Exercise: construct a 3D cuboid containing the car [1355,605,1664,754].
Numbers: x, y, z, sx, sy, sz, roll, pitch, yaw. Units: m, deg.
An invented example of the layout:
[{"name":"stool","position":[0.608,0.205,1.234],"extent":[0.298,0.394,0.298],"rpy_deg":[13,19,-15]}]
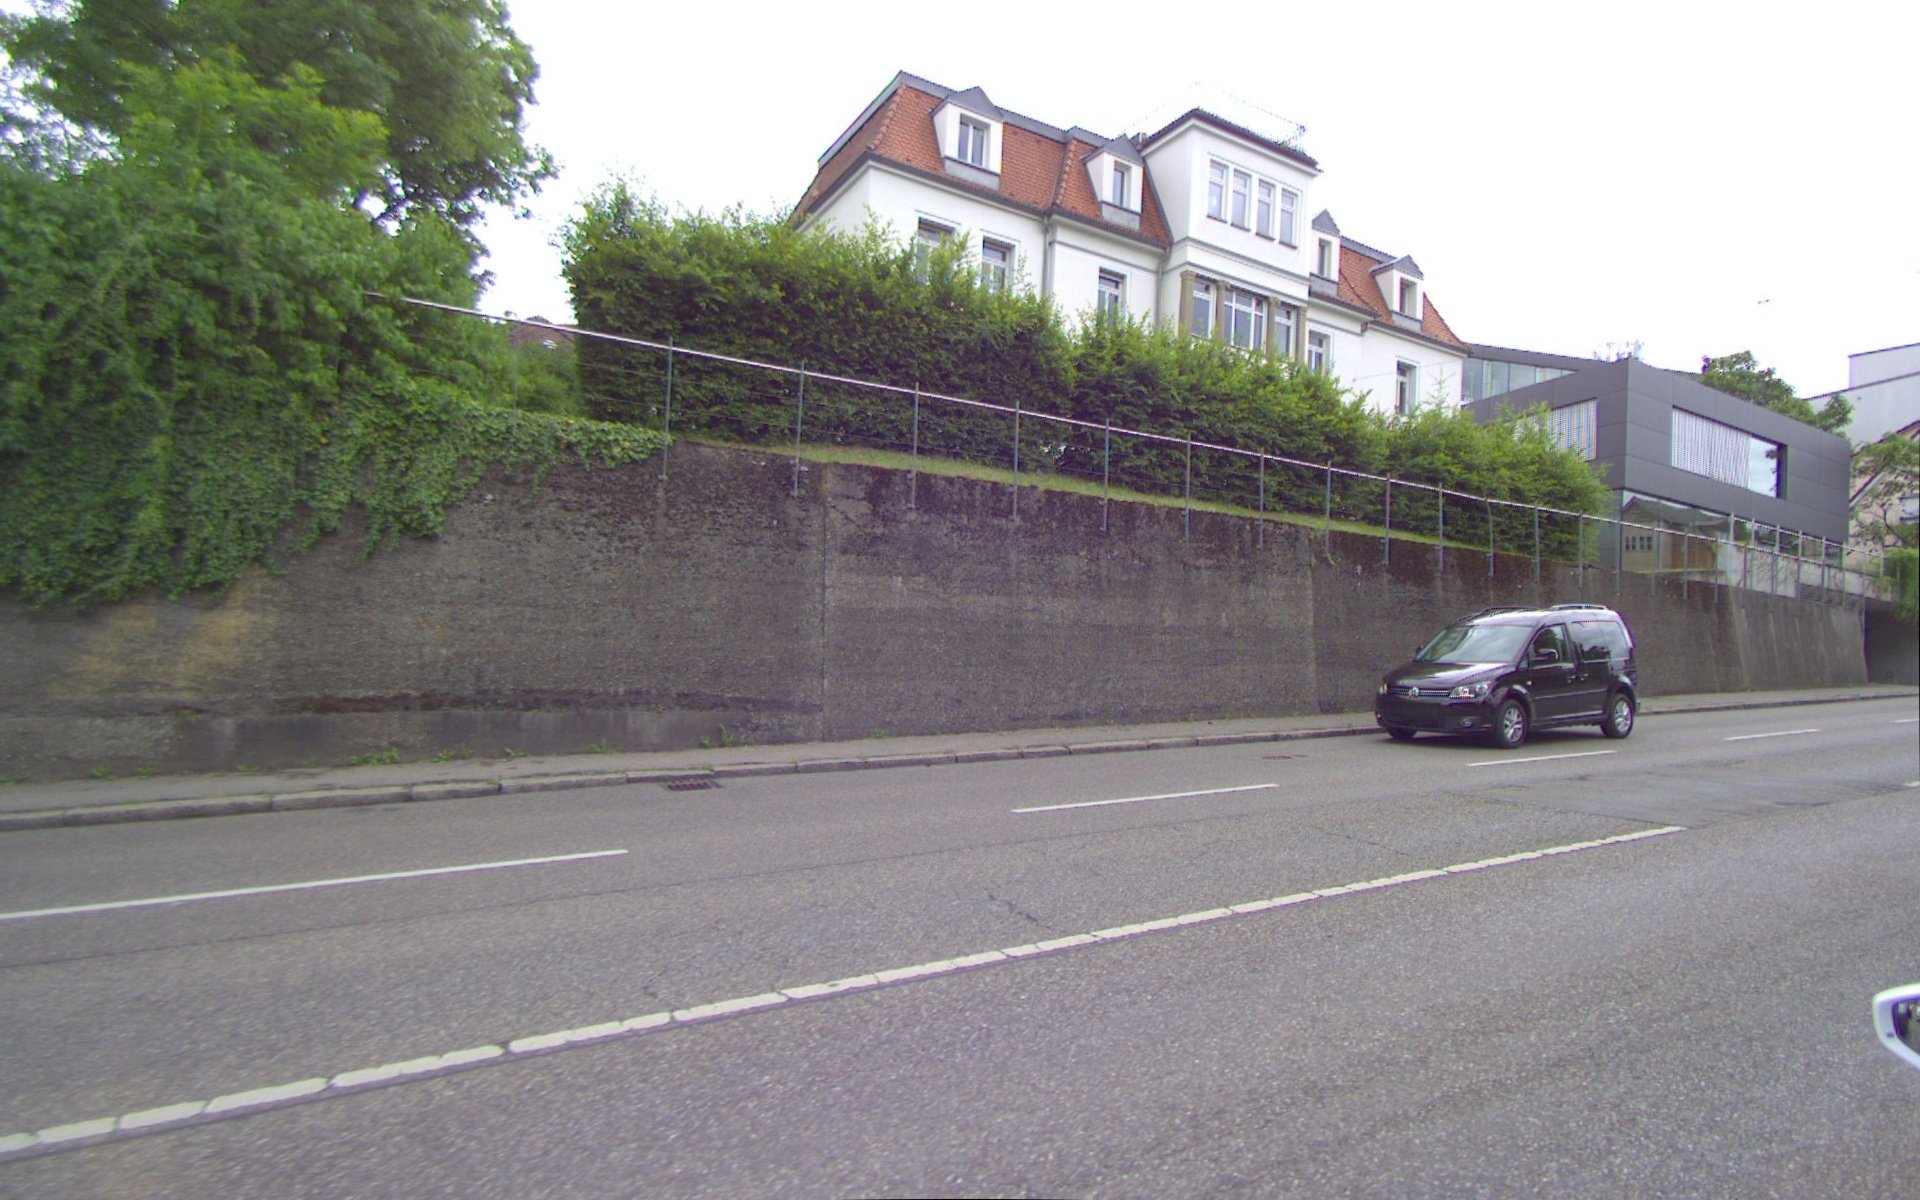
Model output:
[{"name":"car","position":[7.801,1.038,14.164],"extent":[4.442,1.807,1.808],"rpy_deg":[1,-2,-30]}]
